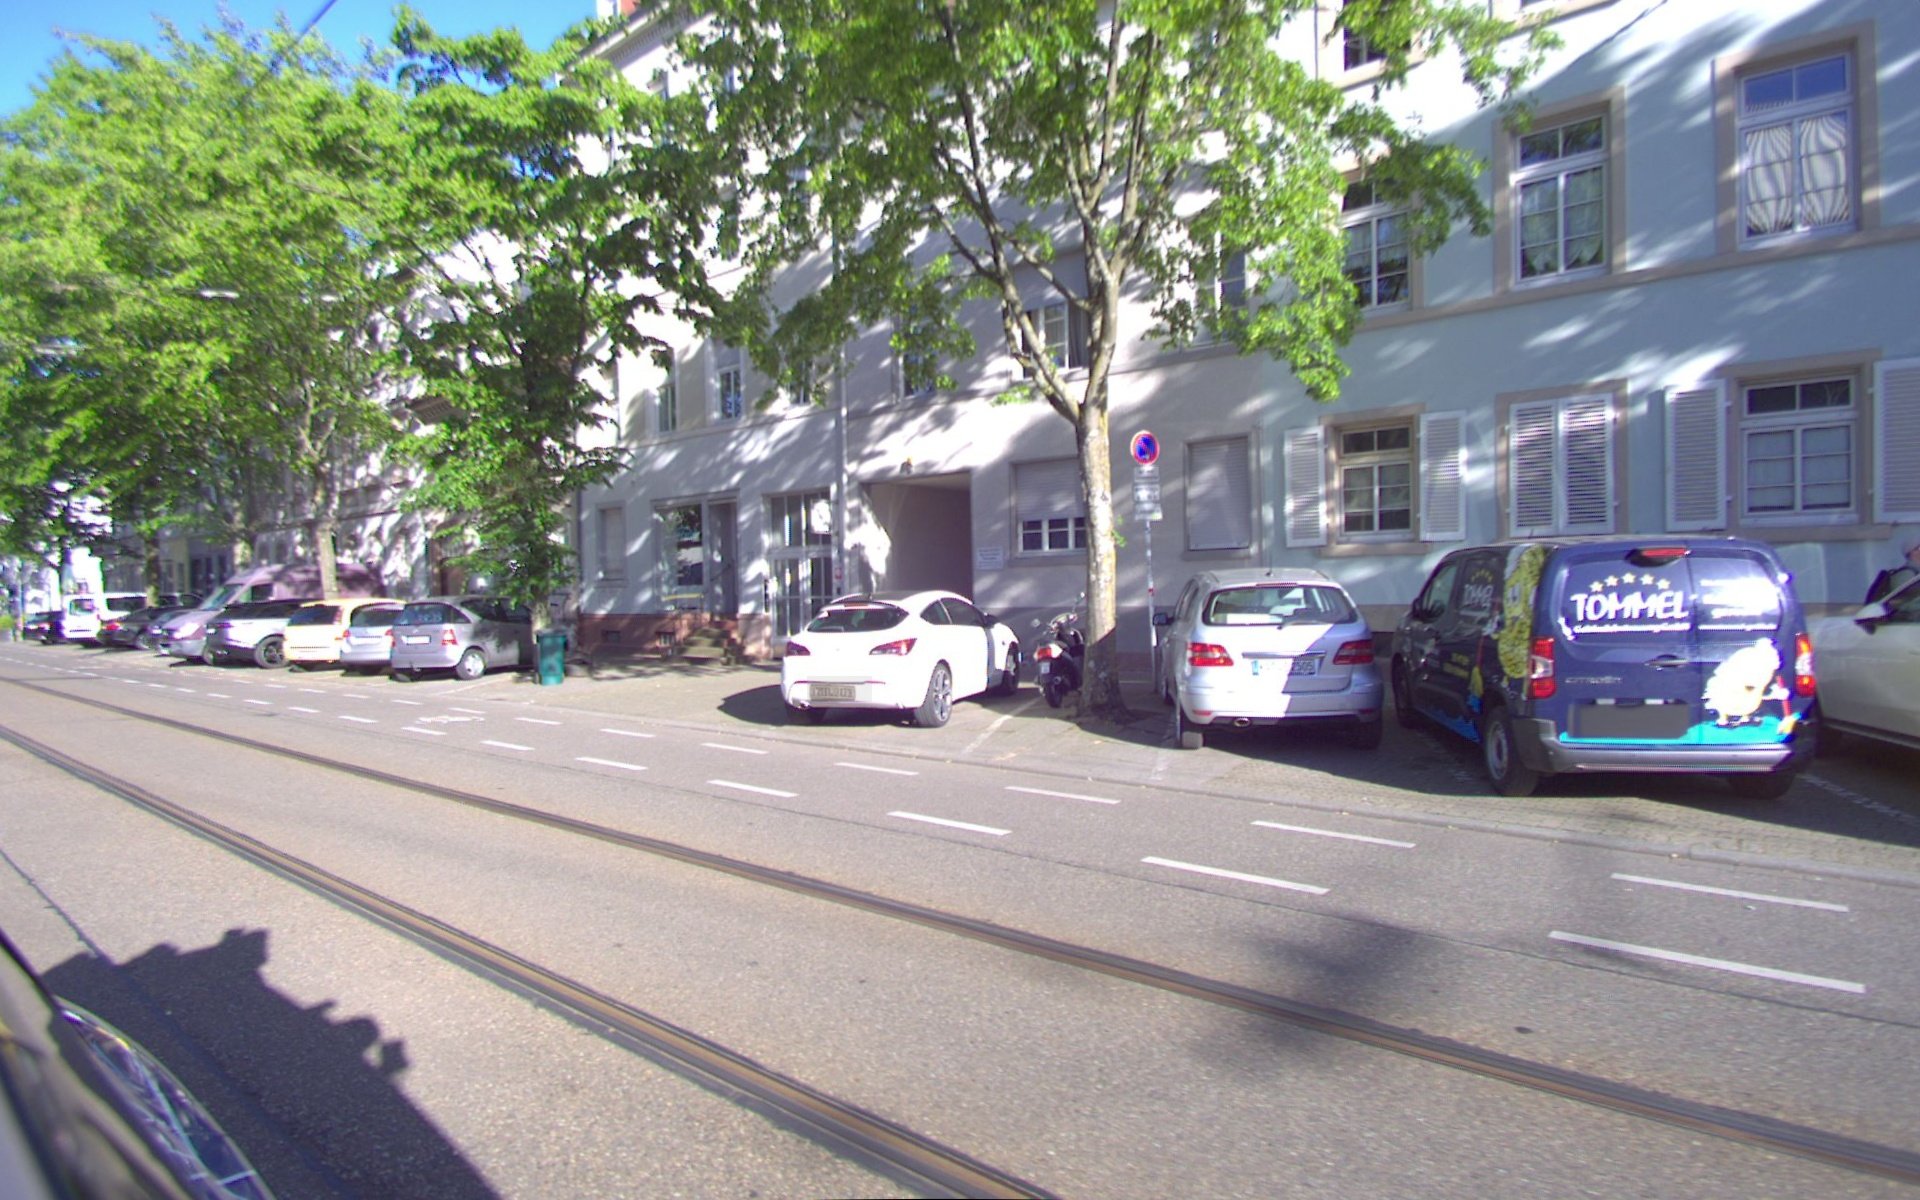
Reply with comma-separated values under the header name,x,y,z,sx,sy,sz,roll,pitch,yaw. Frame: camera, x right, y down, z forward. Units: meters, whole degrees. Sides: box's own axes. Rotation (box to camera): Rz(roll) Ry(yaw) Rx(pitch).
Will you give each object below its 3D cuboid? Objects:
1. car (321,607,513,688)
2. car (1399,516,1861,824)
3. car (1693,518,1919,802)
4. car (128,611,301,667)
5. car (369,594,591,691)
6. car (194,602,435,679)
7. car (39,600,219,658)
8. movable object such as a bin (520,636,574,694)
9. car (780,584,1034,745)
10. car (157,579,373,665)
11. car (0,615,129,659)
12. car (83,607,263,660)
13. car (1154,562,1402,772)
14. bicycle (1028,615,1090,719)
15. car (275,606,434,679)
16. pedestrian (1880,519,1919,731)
name,x,y,z,sx,sy,sz,roll,pitch,yaw
car,-11.573,0.963,21.909,1.681,1.564,4.165,-1,-1,5
car,4.802,0.336,7.901,1.714,1.856,3.437,-1,3,9
car,7.225,0.361,6.496,2.186,1.808,4.922,-1,0,12
car,-23.210,1.162,31.691,1.660,1.464,4.067,-1,2,24
car,-9.374,0.759,20.138,1.689,1.689,3.975,-1,0,19
car,-16.468,0.954,26.037,2.160,1.737,4.784,-1,0,37
car,-30.894,1.032,37.841,2.056,2.029,4.915,-1,0,16
movable object such as a bin,-7.123,1.102,17.459,0.669,0.952,0.615,-1,-1,38
car,-0.483,0.655,12.530,1.872,1.541,3.625,-1,3,20
car,-18.782,0.522,27.526,2.160,2.134,4.396,-1,0,37
car,-37.653,1.513,42.551,1.761,1.569,3.989,-1,1,9
car,-27.807,1.137,35.932,1.950,1.588,4.655,-2,1,35
car,2.986,0.496,10.320,1.790,1.668,3.989,-3,2,9
bicycle,1.225,0.781,12.321,0.433,1.168,1.465,-1,-1,18
car,-14.097,0.941,23.775,1.369,1.564,3.365,-1,0,9
pedestrian,8.664,0.215,9.029,0.624,1.852,0.637,-1,-1,41
